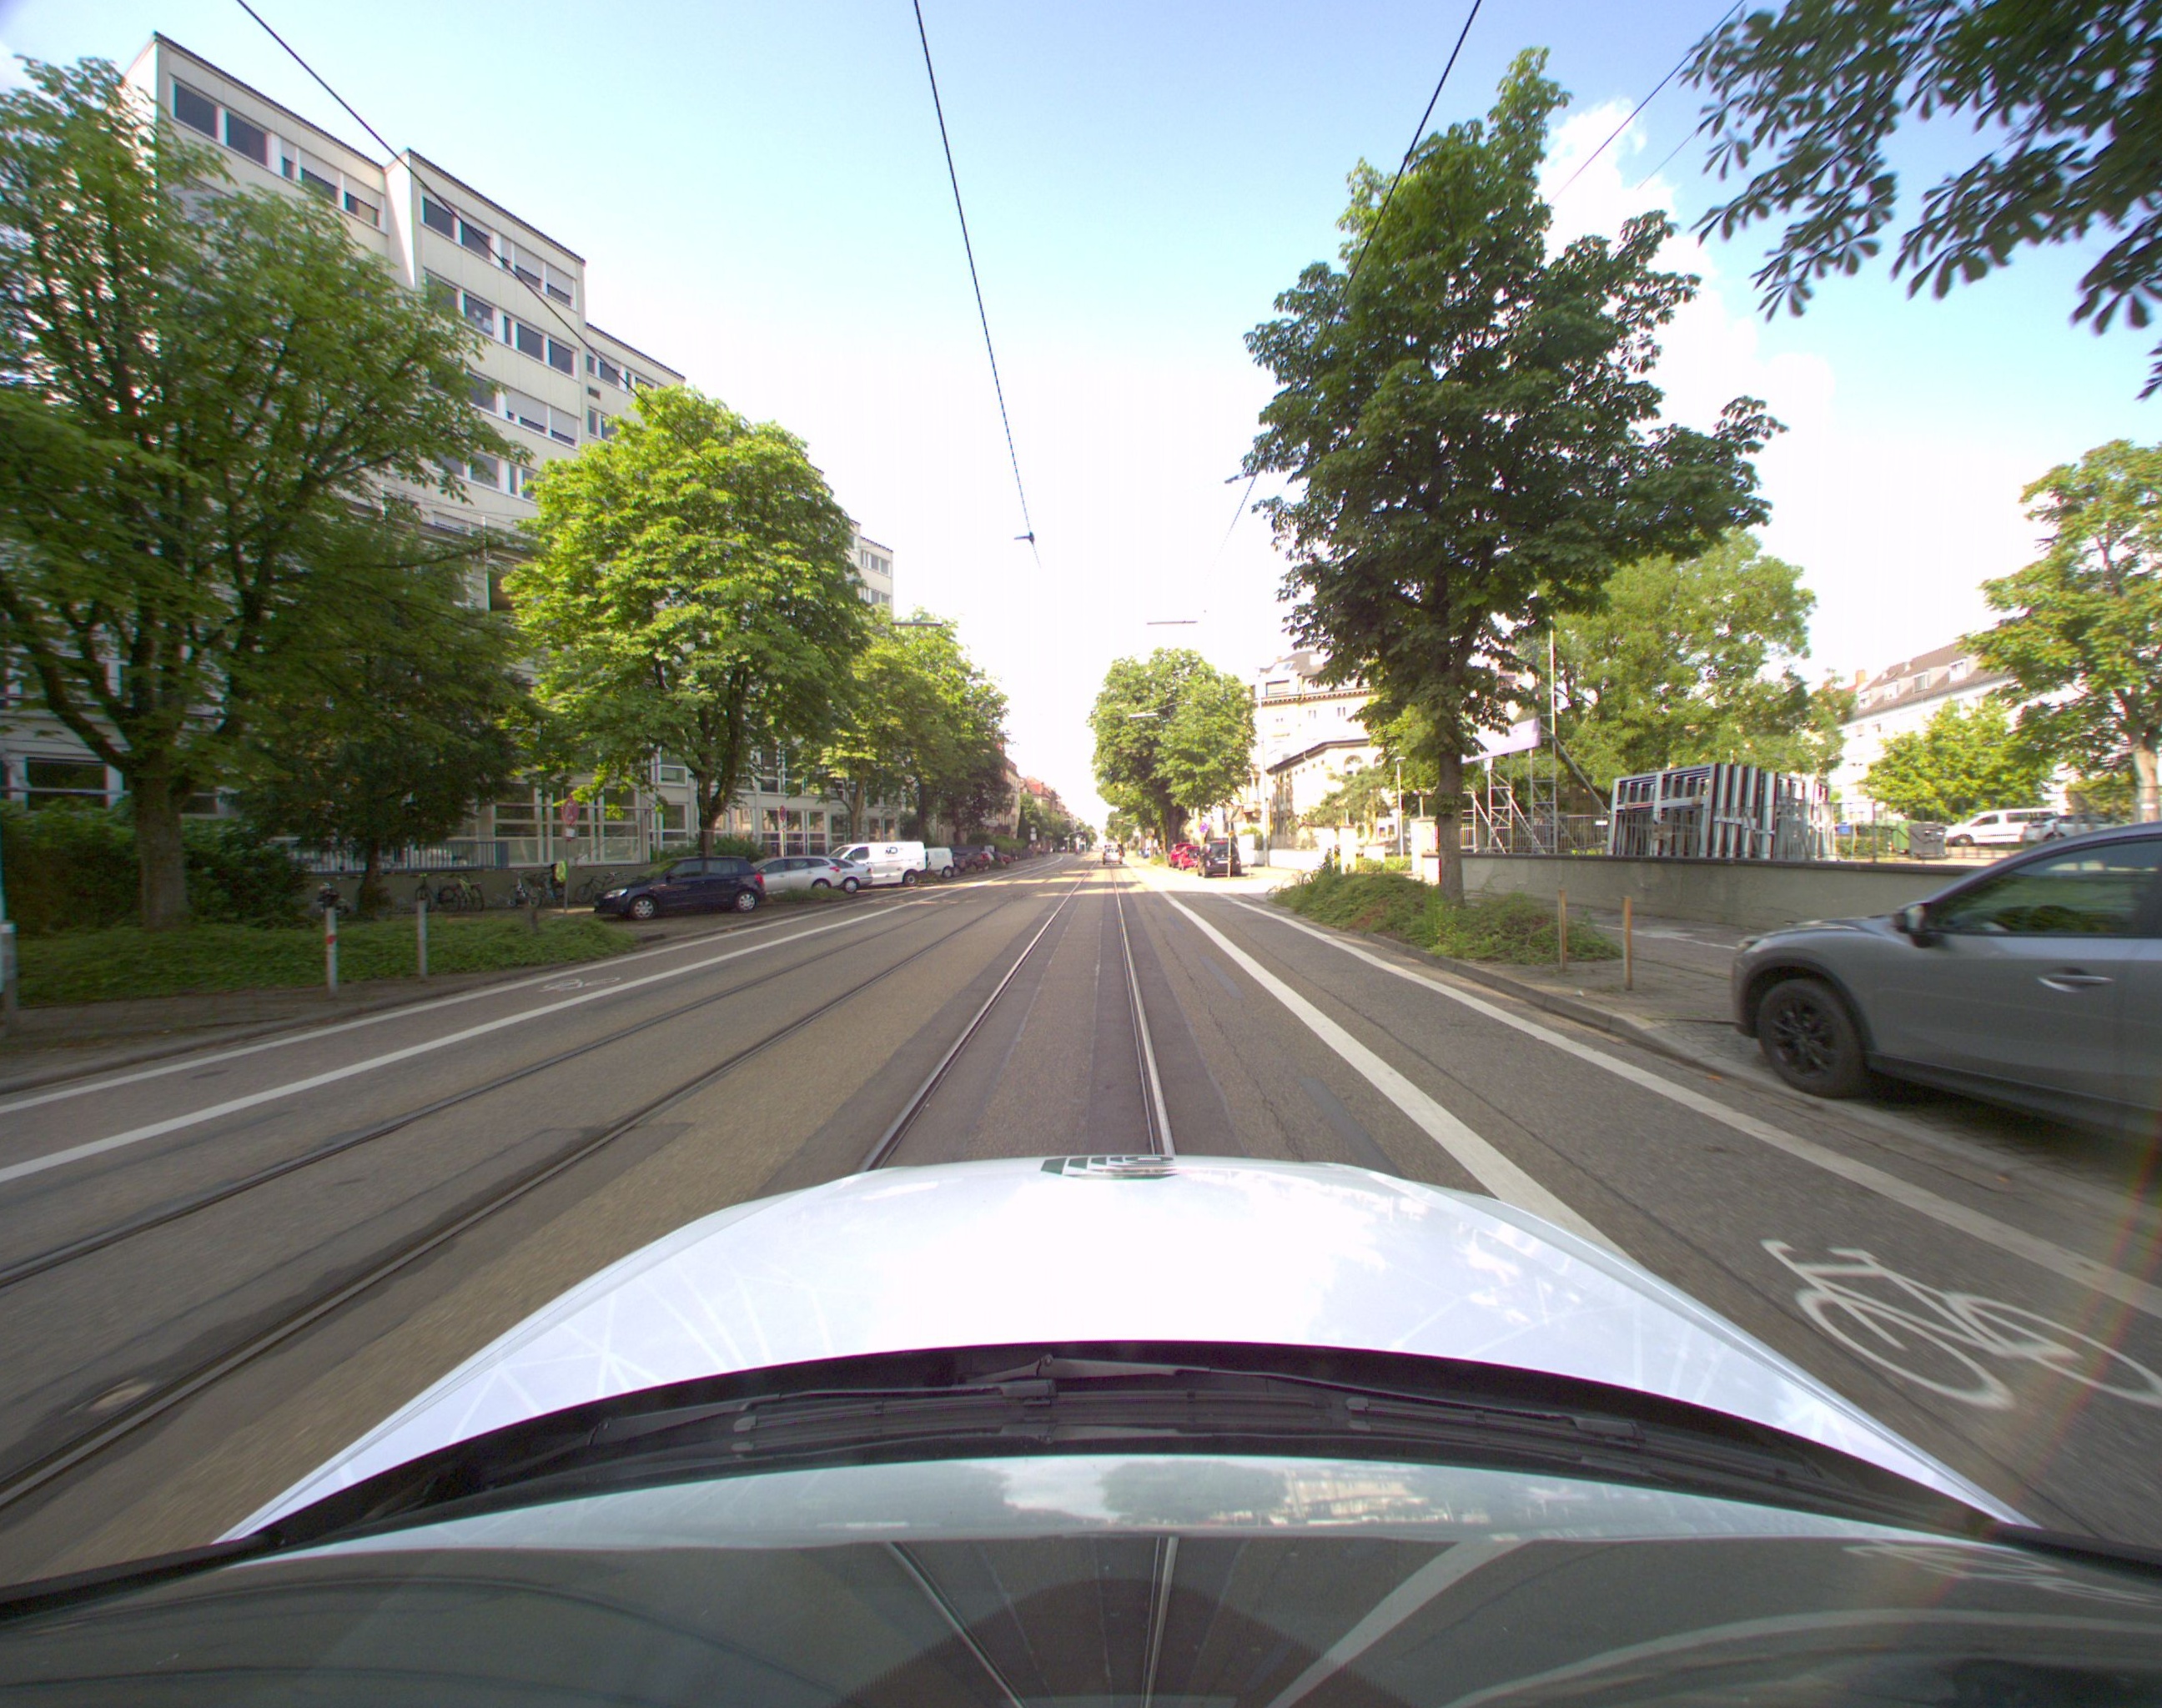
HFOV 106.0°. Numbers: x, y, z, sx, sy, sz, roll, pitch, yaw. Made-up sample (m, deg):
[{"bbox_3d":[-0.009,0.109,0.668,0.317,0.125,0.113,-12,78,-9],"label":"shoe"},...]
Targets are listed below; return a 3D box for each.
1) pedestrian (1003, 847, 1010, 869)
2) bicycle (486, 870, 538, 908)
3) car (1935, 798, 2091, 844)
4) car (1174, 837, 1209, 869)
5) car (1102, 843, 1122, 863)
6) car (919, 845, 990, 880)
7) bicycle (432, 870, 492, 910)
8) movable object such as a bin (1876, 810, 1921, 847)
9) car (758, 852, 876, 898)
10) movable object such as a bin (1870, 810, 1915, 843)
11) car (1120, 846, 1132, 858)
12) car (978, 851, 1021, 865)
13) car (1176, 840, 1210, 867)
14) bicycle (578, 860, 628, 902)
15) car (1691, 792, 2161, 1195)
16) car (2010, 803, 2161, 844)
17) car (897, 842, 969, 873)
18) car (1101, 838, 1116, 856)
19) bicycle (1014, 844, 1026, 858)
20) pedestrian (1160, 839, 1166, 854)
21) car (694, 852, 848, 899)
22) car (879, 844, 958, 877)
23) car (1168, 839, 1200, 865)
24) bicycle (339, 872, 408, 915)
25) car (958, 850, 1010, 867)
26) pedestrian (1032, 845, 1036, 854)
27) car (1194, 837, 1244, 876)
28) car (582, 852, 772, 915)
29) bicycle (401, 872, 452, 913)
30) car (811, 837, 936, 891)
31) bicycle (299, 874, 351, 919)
[{"bbox_3d":[-6.845,0.402,74.624,0.613,2.014,0.501,0,-1,1],"label":"pedestrian"},{"bbox_3d":[-17.090,1.027,24.444,2.030,1.087,0.500,0,-1,31],"label":"bicycle"},{"bbox_3d":[48.729,-1.659,42.767,4.891,1.965,2.012,-3,-4,31],"label":"car"},{"bbox_3d":[6.556,-0.115,48.613,1.668,1.611,3.587,-3,3,2],"label":"car"},{"bbox_3d":[2.623,-0.045,69.482,1.615,1.684,3.566,0,0,2],"label":"car"},{"bbox_3d":[-8.297,0.549,53.595,4.227,2.081,1.861,4,-1,-44],"label":"car"},{"bbox_3d":[-17.625,1.008,23.177,2.030,1.087,0.500,0,-1,27],"label":"bicycle"},{"bbox_3d":[33.381,-1.022,33.269,0.869,1.452,1.241,0,-1,23],"label":"movable object such as a bin"},{"bbox_3d":[-9.860,0.765,30.528,3.805,1.475,1.705,-4,1,-42],"label":"car"},{"bbox_3d":[34.823,-1.150,34.968,0.935,1.349,1.241,0,-1,23],"label":"movable object such as a bin"},{"bbox_3d":[6.528,-0.279,118.668,1.615,1.849,3.566,0,-1,2],"label":"car"},{"bbox_3d":[-7.647,0.355,76.740,3.804,1.306,1.620,0,-1,-37],"label":"car"},{"bbox_3d":[6.692,-0.028,48.763,1.660,1.486,3.281,-2,-1,2],"label":"car"},{"bbox_3d":[-15.942,0.894,27.163,1.878,1.364,0.440,0,-1,25],"label":"bicycle"},{"bbox_3d":[5.184,0.526,3.572,1.758,1.606,4.460,-2,1,2],"label":"car"},{"bbox_3d":[44.188,-1.303,35.889,3.866,1.420,1.769,-3,-3,29],"label":"car"},{"bbox_3d":[-8.617,0.214,47.616,3.780,1.712,1.860,0,-1,-44],"label":"car"},{"bbox_3d":[3.160,-0.758,93.903,1.615,2.000,3.566,0,-1,2],"label":"car"},{"bbox_3d":[-7.207,-0.349,96.703,0.933,1.746,2.289,0,-1,8],"label":"bicycle"},{"bbox_3d":[11.270,-0.987,112.249,0.757,2.014,0.765,0,-1,3],"label":"pedestrian"},{"bbox_3d":[-10.234,0.680,27.125,1.718,1.426,4.487,-2,-1,45],"label":"car"},{"bbox_3d":[-8.811,0.342,44.316,3.780,1.712,1.860,0,-1,-44],"label":"car"},{"bbox_3d":[7.028,-0.119,55.799,1.952,1.706,4.003,0,0,3],"label":"car"},{"bbox_3d":[-18.566,1.008,21.349,2.031,1.087,0.500,0,-1,22],"label":"bicycle"},{"bbox_3d":[-7.664,0.396,64.309,3.804,1.306,1.620,0,-1,-37],"label":"car"},{"bbox_3d":[-9.891,-0.918,170.731,0.884,2.014,0.786,0,-1,-7],"label":"pedestrian"},{"bbox_3d":[6.236,0.105,37.132,1.668,1.611,3.586,-3,0,2],"label":"car"},{"bbox_3d":[-10.194,0.693,20.709,4.021,1.462,1.739,0,-1,-41],"label":"car"},{"bbox_3d":[-18.010,1.042,22.399,1.877,1.070,0.440,0,-1,31],"label":"bicycle"},{"bbox_3d":[-8.733,0.373,34.549,4.667,1.912,1.910,-5,2,-40],"label":"car"},{"bbox_3d":[-19.096,1.061,20.550,1.877,1.070,0.440,0,-1,31],"label":"bicycle"}]
